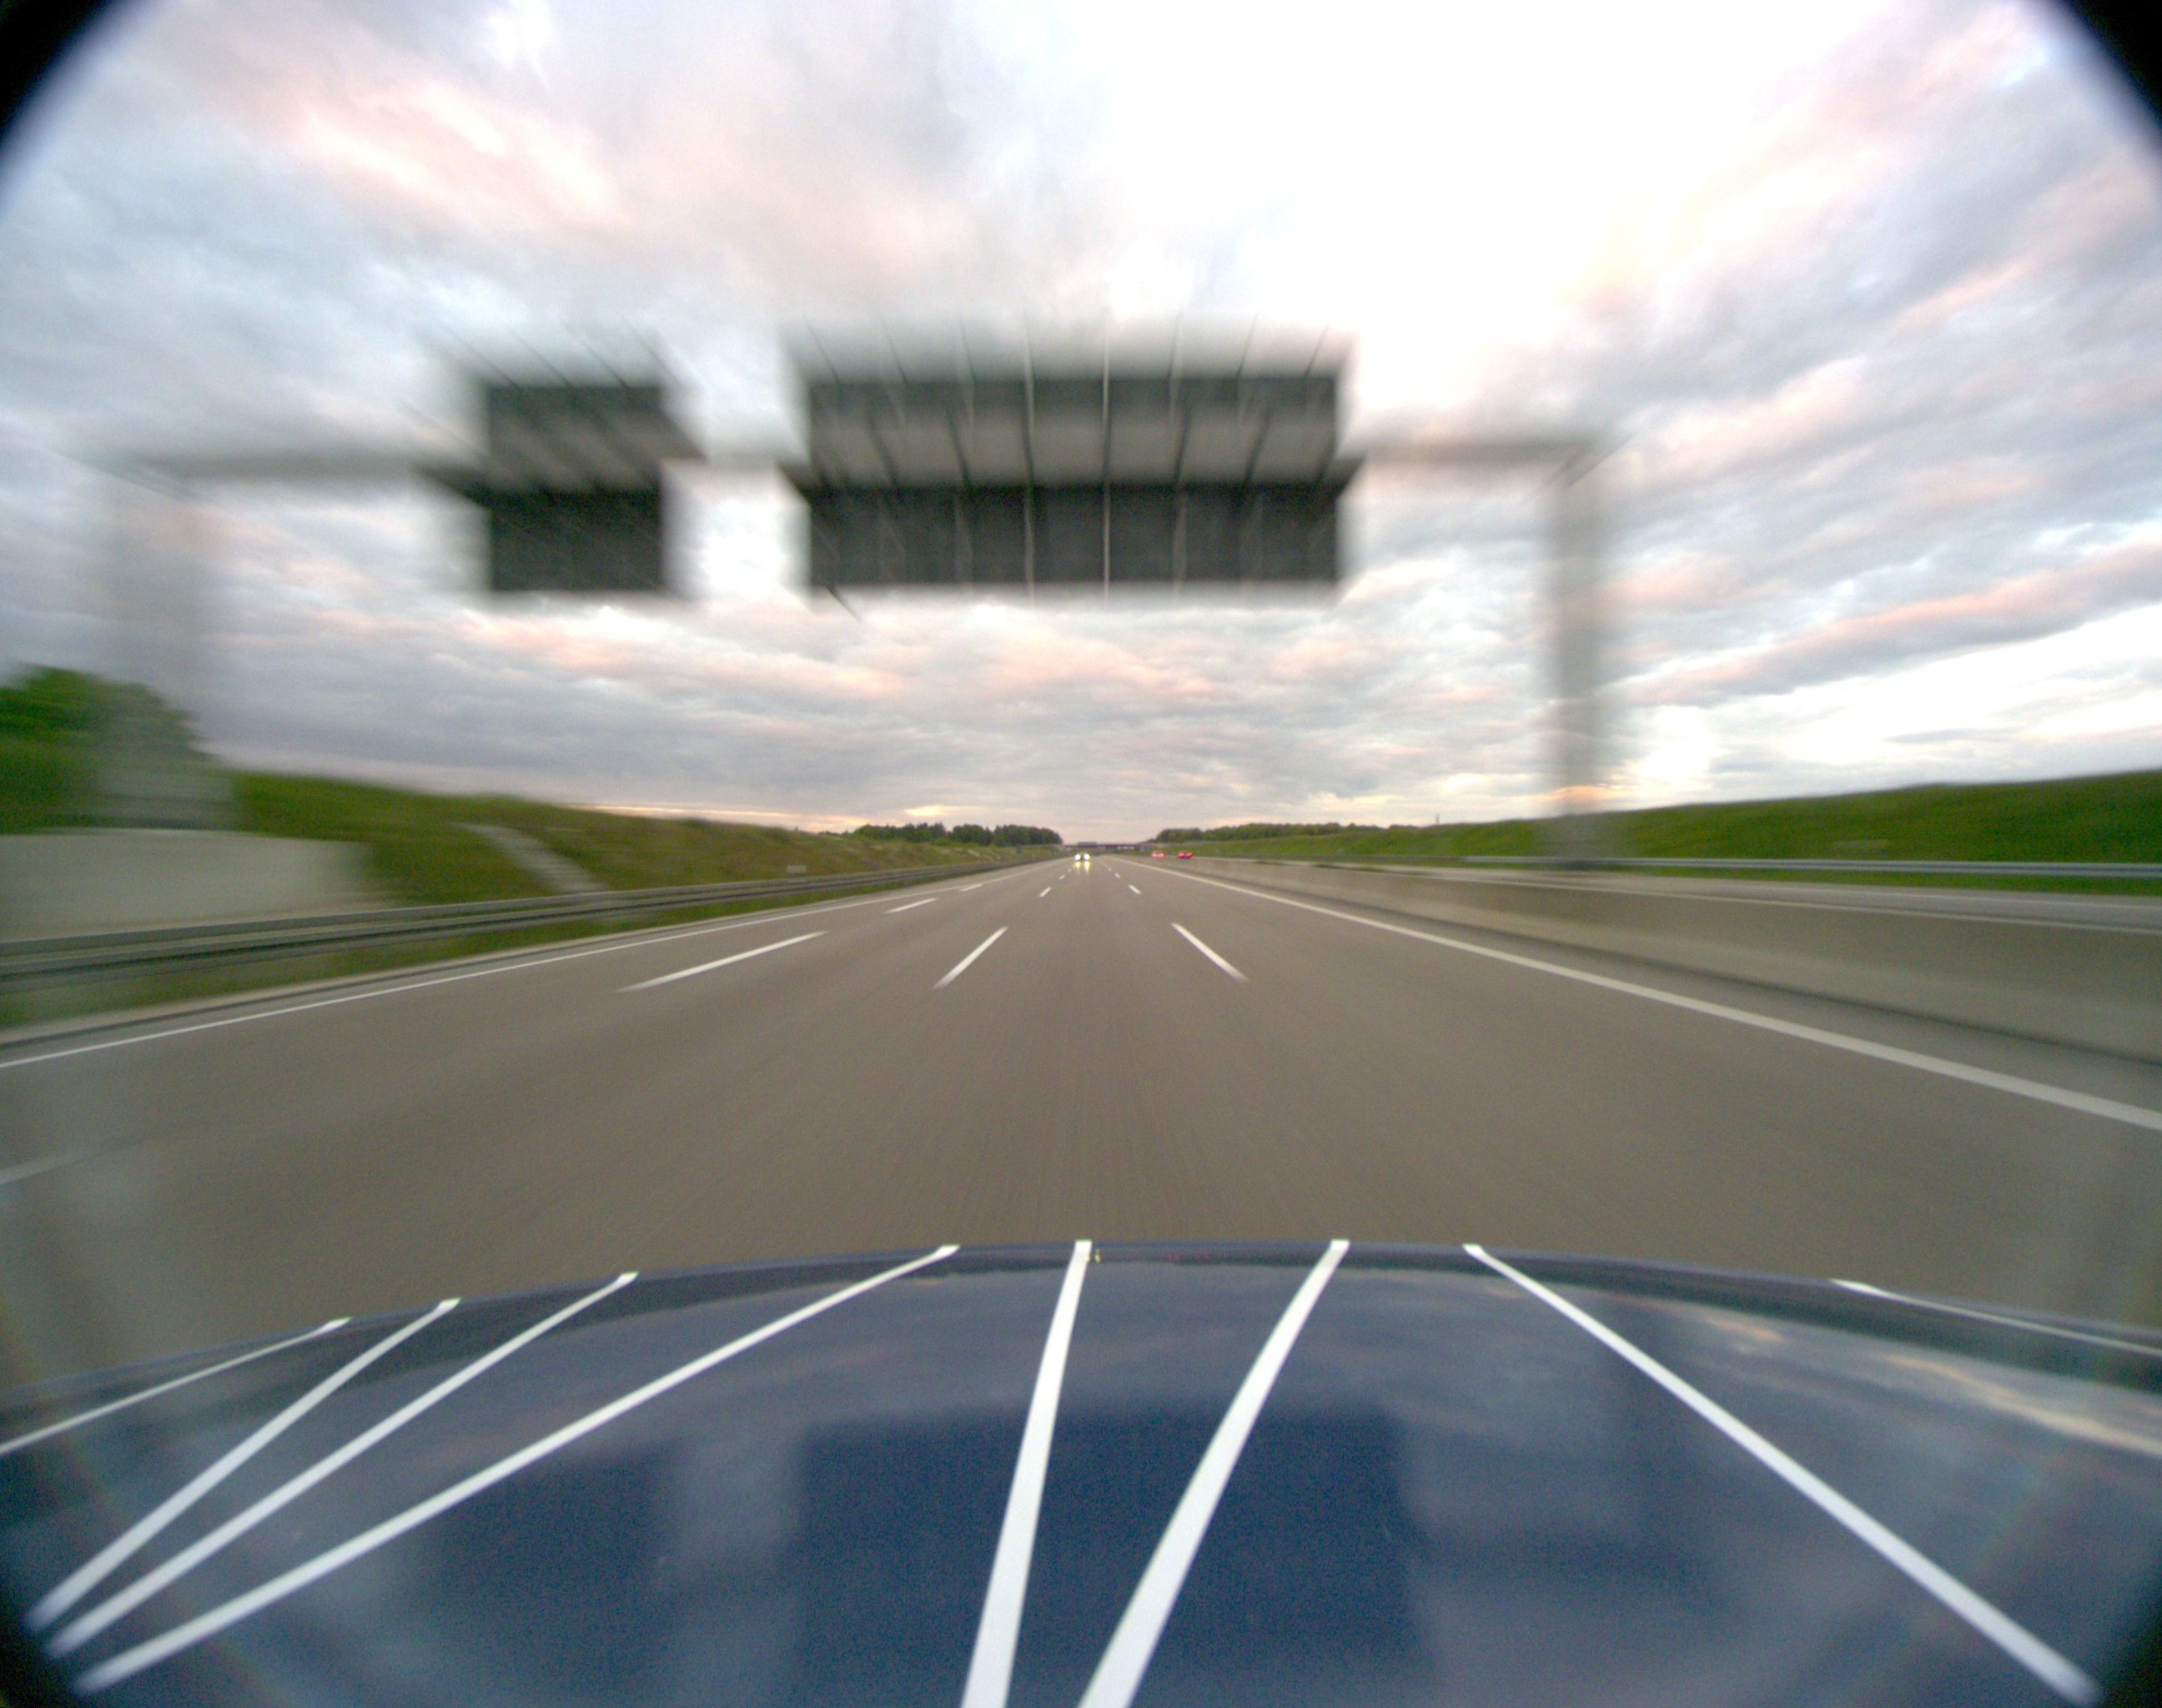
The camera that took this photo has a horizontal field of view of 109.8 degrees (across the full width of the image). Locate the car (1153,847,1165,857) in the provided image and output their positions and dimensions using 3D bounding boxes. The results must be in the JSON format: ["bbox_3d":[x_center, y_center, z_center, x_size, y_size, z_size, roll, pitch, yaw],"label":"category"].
[{"bbox_3d":[13.215,-0.394,128.904,1.753,1.588,4.643,-2,0,1],"label":"car"}]

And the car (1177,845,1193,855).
[{"bbox_3d":[17.280,-0.654,126.150,2.008,1.578,4.572,-1,1,-1],"label":"car"}]

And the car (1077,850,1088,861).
[{"bbox_3d":[0.275,0.277,129.224,1.801,1.674,4.385,-1,1,1],"label":"car"}]
